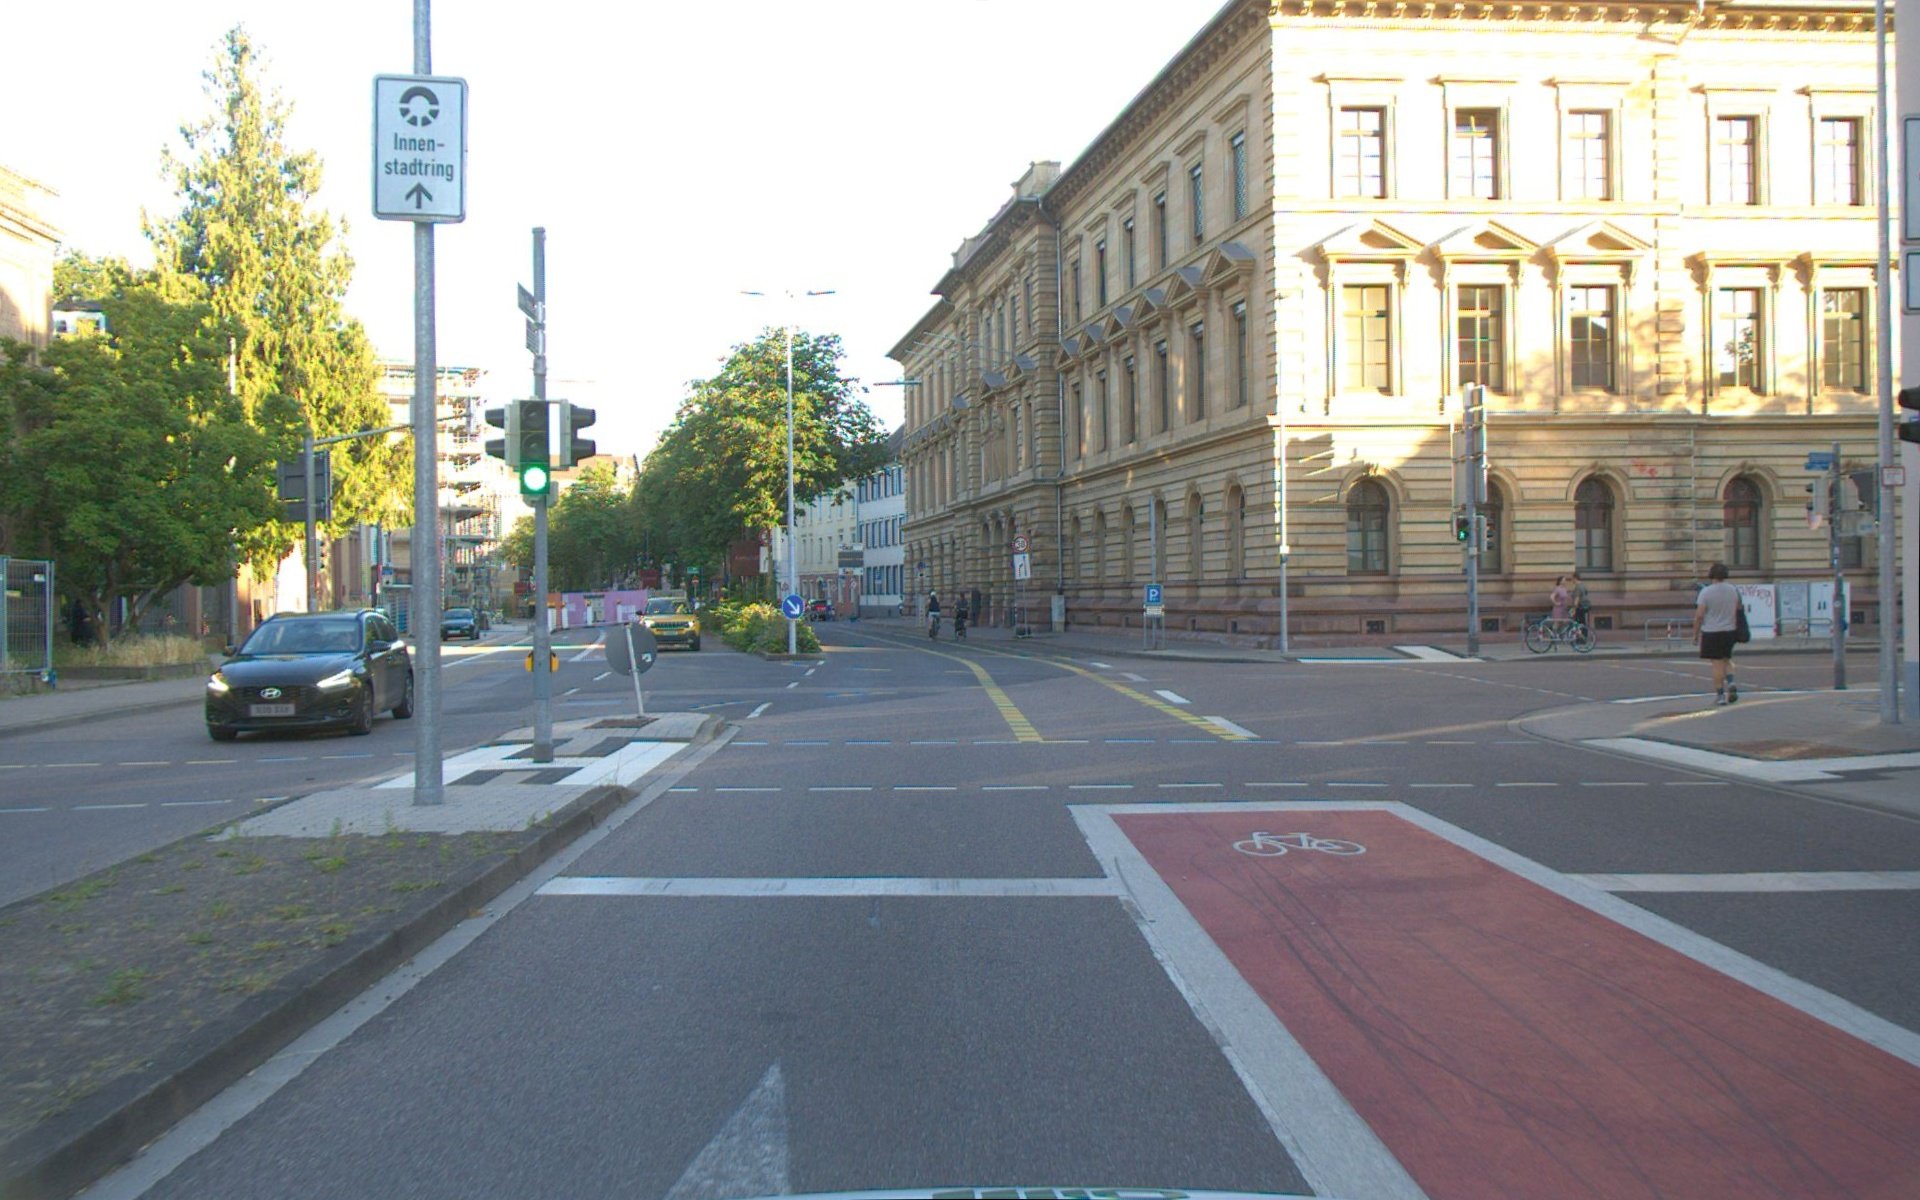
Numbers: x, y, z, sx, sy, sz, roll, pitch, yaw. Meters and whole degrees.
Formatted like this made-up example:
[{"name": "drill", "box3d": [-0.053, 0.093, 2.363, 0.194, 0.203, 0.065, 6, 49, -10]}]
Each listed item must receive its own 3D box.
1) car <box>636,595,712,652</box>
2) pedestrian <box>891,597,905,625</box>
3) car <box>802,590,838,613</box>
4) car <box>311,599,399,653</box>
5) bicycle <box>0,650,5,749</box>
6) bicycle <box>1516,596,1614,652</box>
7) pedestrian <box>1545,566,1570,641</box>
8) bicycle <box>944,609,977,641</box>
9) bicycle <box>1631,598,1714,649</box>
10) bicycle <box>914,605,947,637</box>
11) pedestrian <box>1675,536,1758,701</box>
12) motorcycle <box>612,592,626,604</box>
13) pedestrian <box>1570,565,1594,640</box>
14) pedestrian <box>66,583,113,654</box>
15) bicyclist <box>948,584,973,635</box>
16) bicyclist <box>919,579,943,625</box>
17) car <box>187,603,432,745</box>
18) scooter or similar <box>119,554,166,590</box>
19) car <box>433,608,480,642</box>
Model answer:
[{"name": "car", "box3d": [-8.430, 0.661, 49.004, 1.809, 1.574, 4.115, -1, 0, -5]}, {"name": "pedestrian", "box3d": [-3.961, 0.701, 105.450, 0.801, 1.796, 1.036, 0, 0, -6]}, {"name": "car", "box3d": [-10.533, 0.135, 124.236, 1.786, 1.712, 3.895, 0, 0, -21]}, {"name": "car", "box3d": [-18.282, 0.817, 50.154, 1.712, 1.575, 4.359, 0, -2, -10]}, {"name": "bicycle", "box3d": [-11.103, 1.140, 17.762, 0.739, 1.109, 1.929, -3, 0, -8]}, {"name": "bicycle", "box3d": [14.350, 0.558, 39.240, 2.009, 1.228, 0.861, -1, 2, -4]}, {"name": "pedestrian", "box3d": [15.269, 0.081, 42.232, 0.446, 1.890, 0.421, -1, 0, -43]}, {"name": "bicycle", "box3d": [0.005, 0.886, 59.320, 0.642, 1.089, 2.249, 1, -1, -15]}, {"name": "bicycle", "box3d": [17.074, 0.559, 39.650, 1.689, 1.164, 0.696, -1, 3, -4]}, {"name": "bicycle", "box3d": [-1.046, 0.738, 58.451, 0.659, 1.090, 1.892, 1, -1, -17]}, {"name": "pedestrian", "box3d": [9.686, 0.232, 21.200, 0.768, 2.049, 0.995, -1, 0, 13]}, {"name": "motorcycle", "box3d": [-38.164, -0.234, 185.148, 1.029, 1.270, 2.377, 0, 0, -26]}, {"name": "pedestrian", "box3d": [15.774, 0.068, 41.957, 0.523, 1.890, 0.622, -1, 0, 23]}, {"name": "pedestrian", "box3d": [-20.180, 0.425, 38.344, 0.721, 1.606, 0.761, -1, 0, -8]}, {"name": "bicyclist", "box3d": [0.015, 0.342, 59.374, 0.639, 1.791, 0.861, 1, 0, -15]}, {"name": "bicyclist", "box3d": [-1.027, 0.074, 58.427, 0.658, 1.593, 0.695, 1, -1, -17]}, {"name": "car", "box3d": [-8.021, 0.833, 20.835, 1.788, 1.534, 4.420, -1, 0, -7]}, {"name": "scooter or similar", "box3d": [-18.879, -0.643, 38.206, 0.665, 0.791, 1.027, -1, 0, -8]}, {"name": "car", "box3d": [-22.182, 1.079, 72.934, 1.651, 1.374, 3.874, -2, 0, -13]}]
